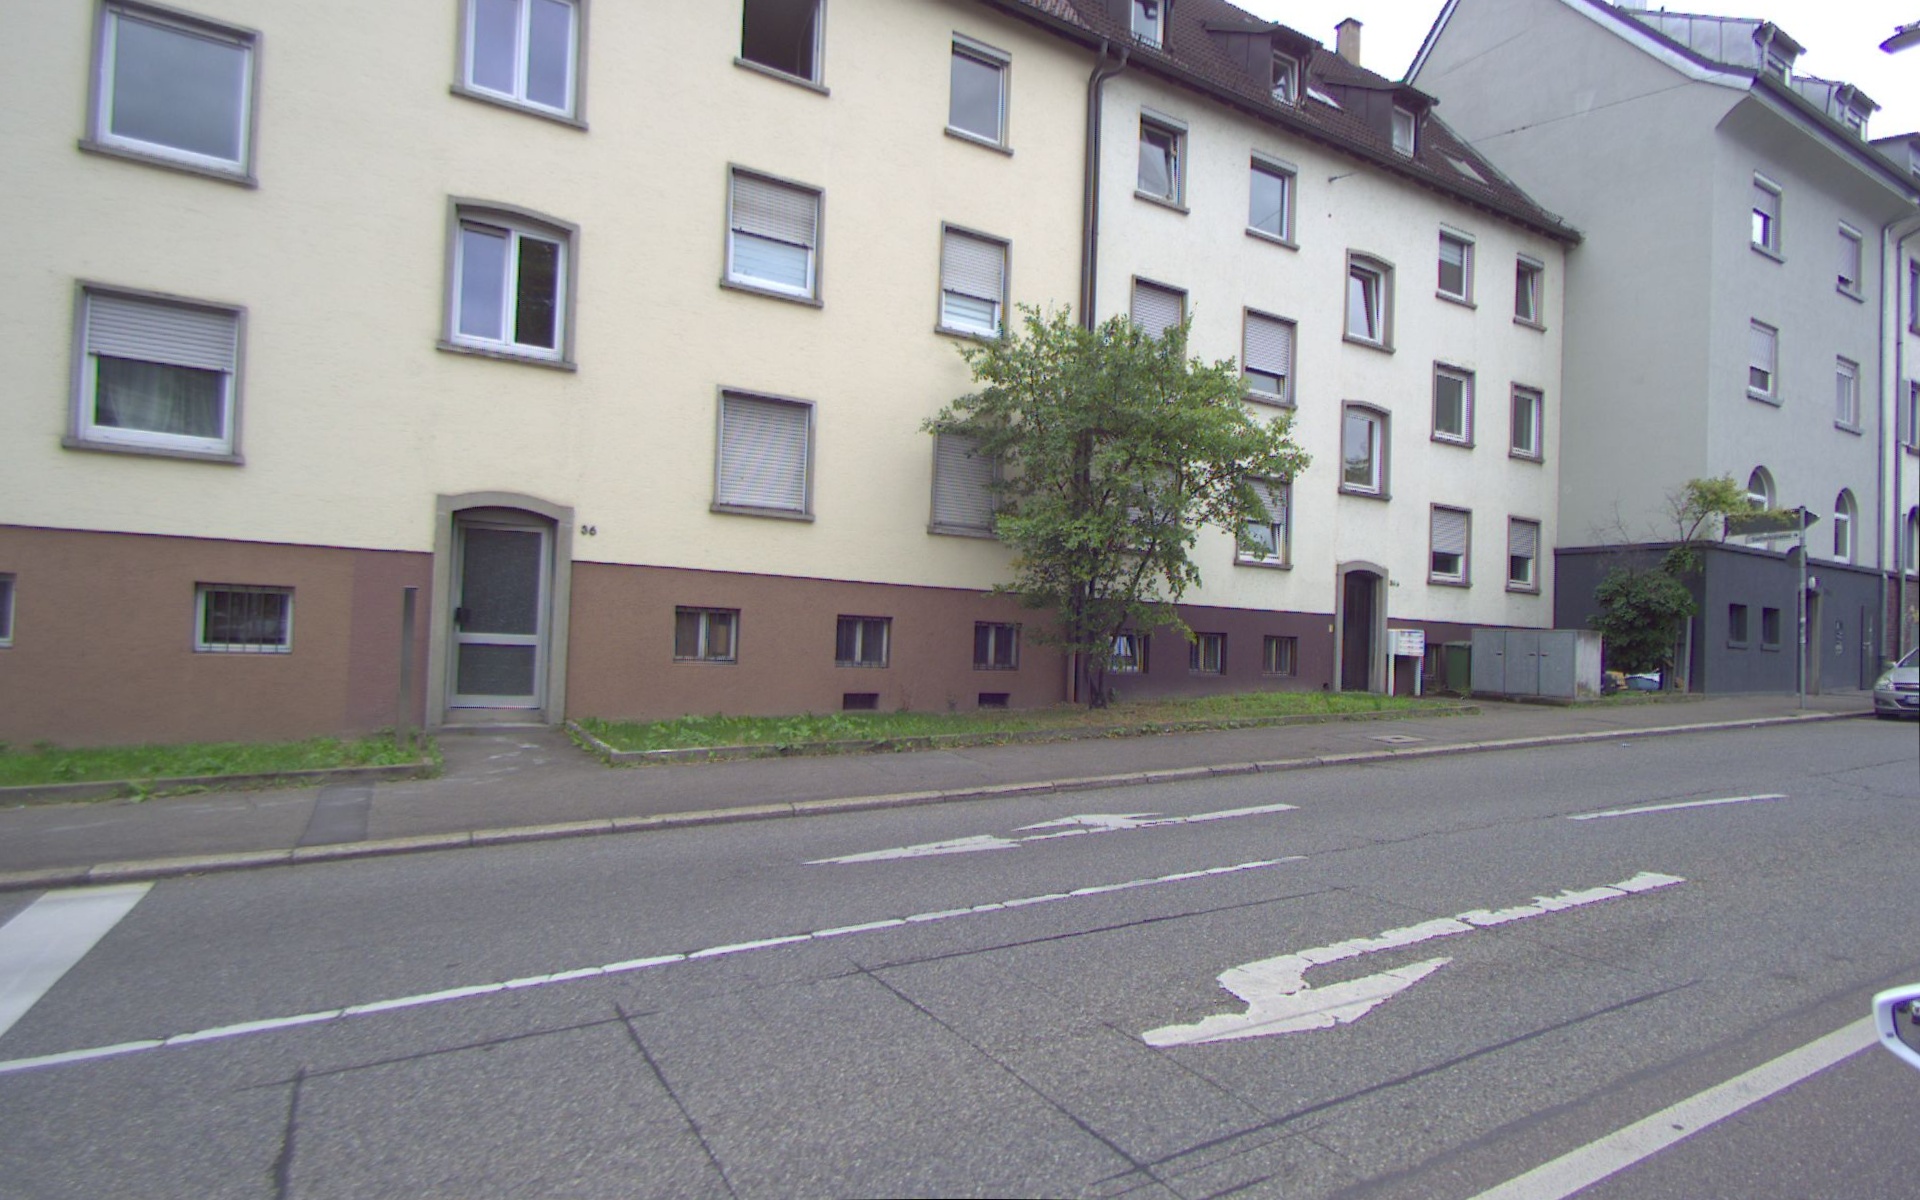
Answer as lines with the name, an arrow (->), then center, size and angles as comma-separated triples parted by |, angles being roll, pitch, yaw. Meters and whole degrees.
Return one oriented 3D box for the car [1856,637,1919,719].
car -> 18.282, 1.384, 18.342 | 4.288, 1.392, 1.718 | 1, -2, -31
